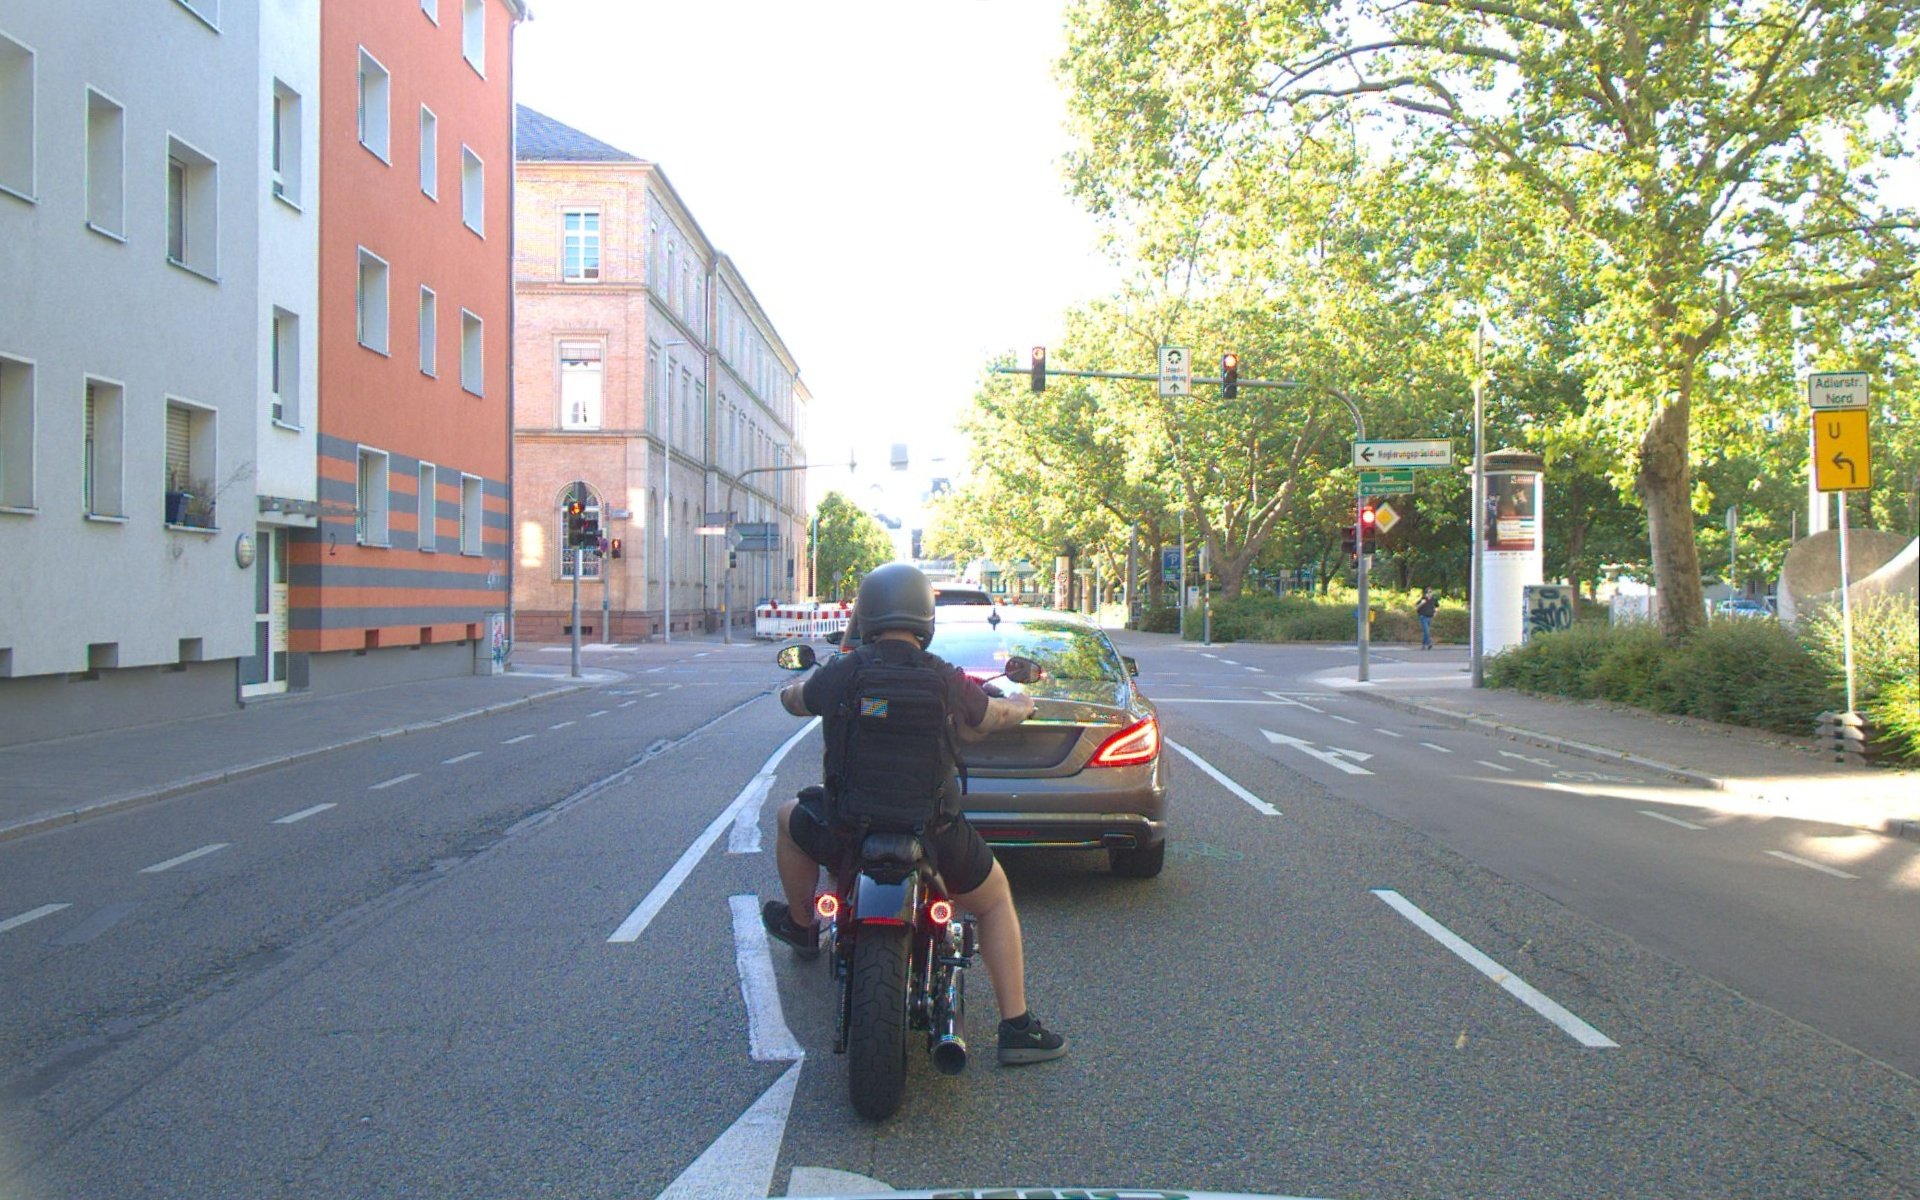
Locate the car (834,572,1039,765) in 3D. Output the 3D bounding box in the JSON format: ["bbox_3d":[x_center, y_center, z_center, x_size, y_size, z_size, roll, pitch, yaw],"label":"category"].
[{"bbox_3d":[-0.242,0.628,16.944,1.825,1.707,3.999,1,0,-1],"label":"car"}]

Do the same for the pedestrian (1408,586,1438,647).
[{"bbox_3d":[13.791,0.488,49.257,0.720,1.809,0.730,1,-1,4],"label":"pedestrian"}]

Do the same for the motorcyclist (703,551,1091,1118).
[{"bbox_3d":[-0.144,0.666,5.280,1.076,1.593,1.072,1,0,5],"label":"motorcyclist"}]

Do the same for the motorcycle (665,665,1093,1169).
[{"bbox_3d":[-0.131,0.877,5.500,1.094,1.228,2.213,1,0,5],"label":"motorcycle"}]

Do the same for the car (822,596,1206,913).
[{"bbox_3d":[0.231,0.736,9.672,1.785,1.462,3.805,1,0,-1],"label":"car"}]
